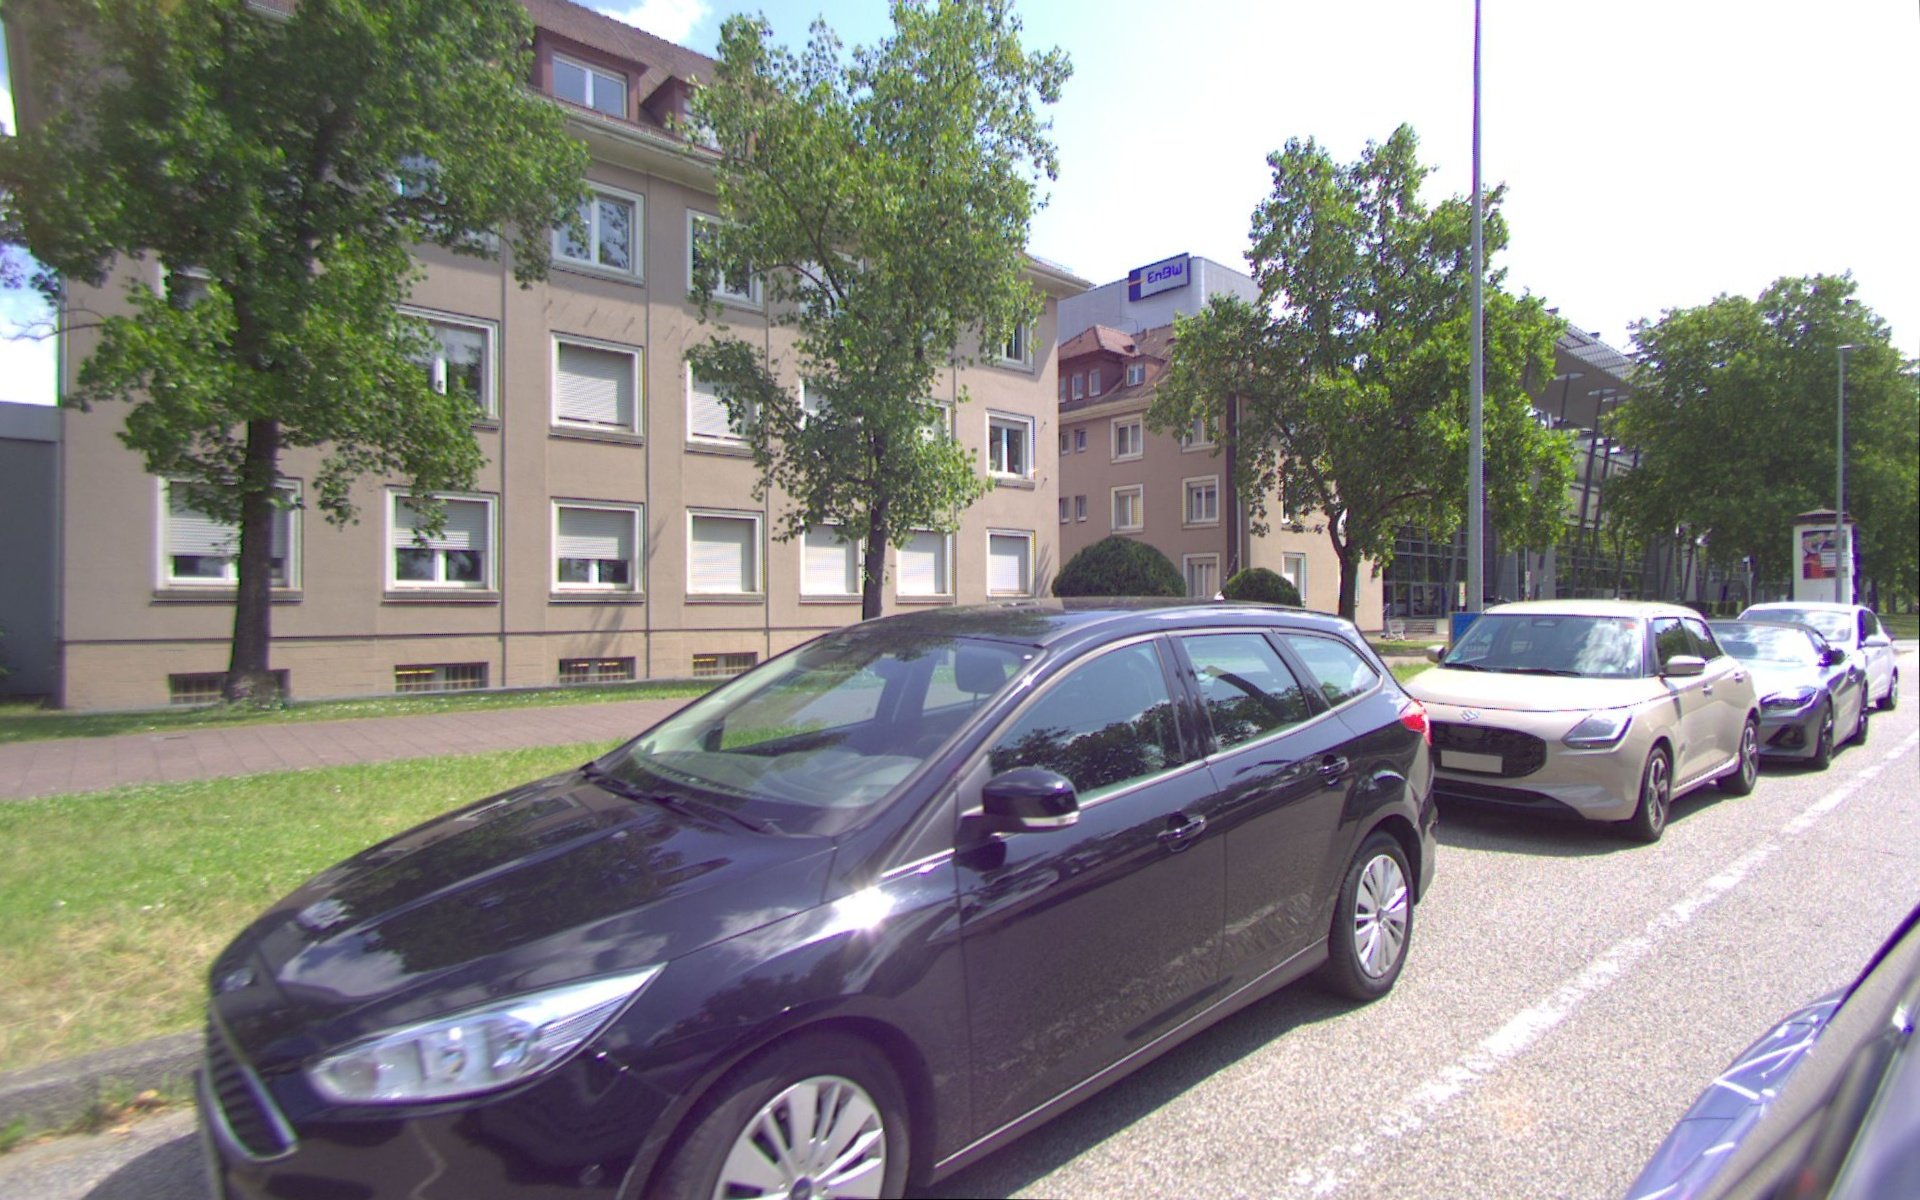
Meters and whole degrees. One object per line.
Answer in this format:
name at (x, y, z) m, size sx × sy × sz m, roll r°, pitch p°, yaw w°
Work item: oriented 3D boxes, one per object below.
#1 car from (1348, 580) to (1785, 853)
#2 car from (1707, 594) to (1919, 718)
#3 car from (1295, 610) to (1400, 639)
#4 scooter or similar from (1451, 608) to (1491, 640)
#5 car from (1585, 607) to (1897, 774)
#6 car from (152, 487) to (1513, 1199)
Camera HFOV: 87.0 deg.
car at (4.651, 0.631, 7.552) m, size 3.782 × 1.534 × 1.672 m, roll -1°, pitch 1°, yaw -40°
car at (12.044, 0.667, 14.204) m, size 3.723 × 1.498 × 1.710 m, roll -1°, pitch 0°, yaw -40°
car at (19.138, 1.188, 50.127) m, size 1.966 × 1.371 × 4.456 m, roll 0°, pitch -1°, yaw -43°
scooter or similar at (21.522, 0.995, 42.637) m, size 0.536 × 1.320 × 1.446 m, roll -1°, pitch -1°, yaw -26°
car at (8.291, 0.768, 10.591) m, size 4.366 × 1.328 × 1.826 m, roll -1°, pitch 0°, yaw -42°
car at (0.099, 0.603, 3.394) m, size 4.364 × 1.549 × 1.647 m, roll 0°, pitch 0°, yaw -40°
